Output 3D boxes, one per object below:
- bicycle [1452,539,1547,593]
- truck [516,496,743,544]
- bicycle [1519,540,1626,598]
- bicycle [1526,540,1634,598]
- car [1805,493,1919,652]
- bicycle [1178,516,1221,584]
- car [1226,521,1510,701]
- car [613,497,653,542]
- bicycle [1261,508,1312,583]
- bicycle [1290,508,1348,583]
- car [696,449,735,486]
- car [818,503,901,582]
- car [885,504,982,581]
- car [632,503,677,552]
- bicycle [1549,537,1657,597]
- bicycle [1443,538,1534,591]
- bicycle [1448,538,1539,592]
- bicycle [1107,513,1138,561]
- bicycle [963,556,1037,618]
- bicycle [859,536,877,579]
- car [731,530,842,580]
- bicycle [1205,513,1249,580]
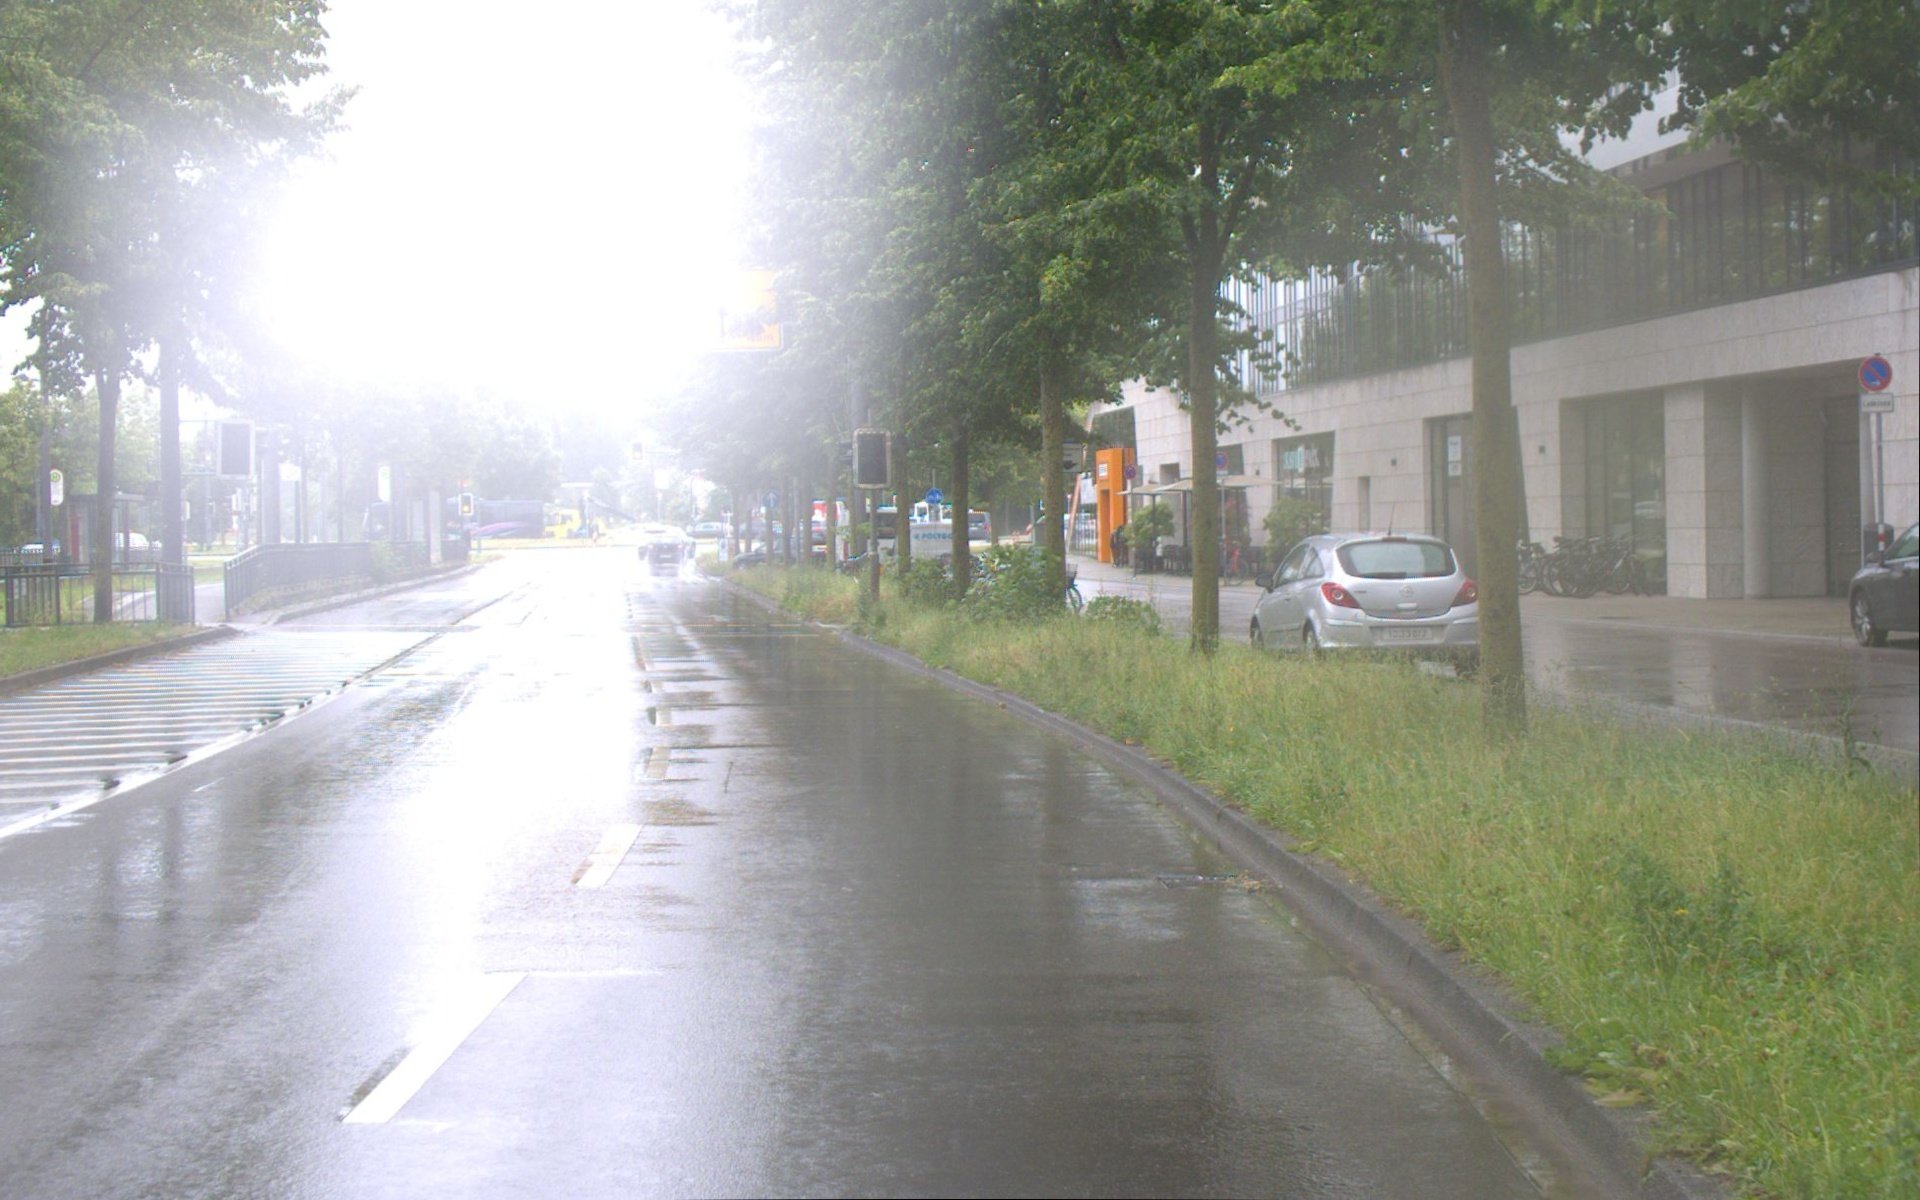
[{"bbox_3d":[10.395,-0.658,66.236,1.750,1.025,0.412,-1,1,-3],"label":"bicycle"},{"bbox_3d":[-22.126,-5.317,230.202,14.854,3.136,3.524,0,1,-12],"label":"truck"},{"bbox_3d":[11.027,-0.563,61.902,1.806,1.025,0.541,-1,1,-3],"label":"bicycle"},{"bbox_3d":[11.054,-0.557,61.296,1.806,1.025,0.541,-1,1,-3],"label":"bicycle"},{"bbox_3d":[10.754,-0.335,36.386,1.993,1.496,5.035,-5,3,-3],"label":"car"},{"bbox_3d":[6.580,-1.389,94.465,0.644,1.716,3.121,-1,3,-6],"label":"bicycle"},{"bbox_3d":[4.016,0.052,34.637,1.881,1.500,4.725,-1,3,-5],"label":"car"},{"bbox_3d":[-15.754,-3.900,165.572,1.888,2.006,4.001,-1,3,-5],"label":"car"},{"bbox_3d":[8.020,-1.358,84.557,0.644,1.716,3.121,-1,3,-6],"label":"bicycle"},{"bbox_3d":[8.811,-1.361,84.523,0.772,1.716,3.121,-1,3,-6],"label":"bicycle"},{"bbox_3d":[-13.626,-7.398,191.634,1.993,2.006,4.001,0,3,-2],"label":"car"},{"bbox_3d":[-3.008,-1.707,101.725,2.120,2.266,4.565,-1,1,-6],"label":"car"},{"bbox_3d":[-0.678,-1.399,83.293,1.906,1.785,4.689,-1,1,-6],"label":"car"},{"bbox_3d":[-13.483,-3.225,151.711,1.940,2.006,4.001,-1,3,-5],"label":"car"},{"bbox_3d":[11.218,-0.576,59.986,1.806,1.025,0.401,-1,1,-3],"label":"bicycle"},{"bbox_3d":[10.334,-0.694,67.258,1.693,1.025,0.423,-1,1,-3],"label":"bicycle"},{"bbox_3d":[10.358,-0.676,66.722,1.693,1.025,0.423,-1,1,-3],"label":"bicycle"},{"bbox_3d":[5.525,-2.146,117.114,0.666,1.529,2.765,-1,3,-5],"label":"bicycle"},{"bbox_3d":[0.703,-0.226,60.654,1.288,1.070,0.275,-1,1,3],"label":"bicycle"},{"bbox_3d":[-1.852,-0.860,68.990,0.274,0.846,1.293,-1,1,-5],"label":"bicycle"},{"bbox_3d":[-5.965,-1.551,118.059,1.816,1.539,3.999,-3,4,-38],"label":"car"},{"bbox_3d":[7.328,-1.488,94.513,0.644,1.716,3.121,-1,3,-6],"label":"bicycle"}]
